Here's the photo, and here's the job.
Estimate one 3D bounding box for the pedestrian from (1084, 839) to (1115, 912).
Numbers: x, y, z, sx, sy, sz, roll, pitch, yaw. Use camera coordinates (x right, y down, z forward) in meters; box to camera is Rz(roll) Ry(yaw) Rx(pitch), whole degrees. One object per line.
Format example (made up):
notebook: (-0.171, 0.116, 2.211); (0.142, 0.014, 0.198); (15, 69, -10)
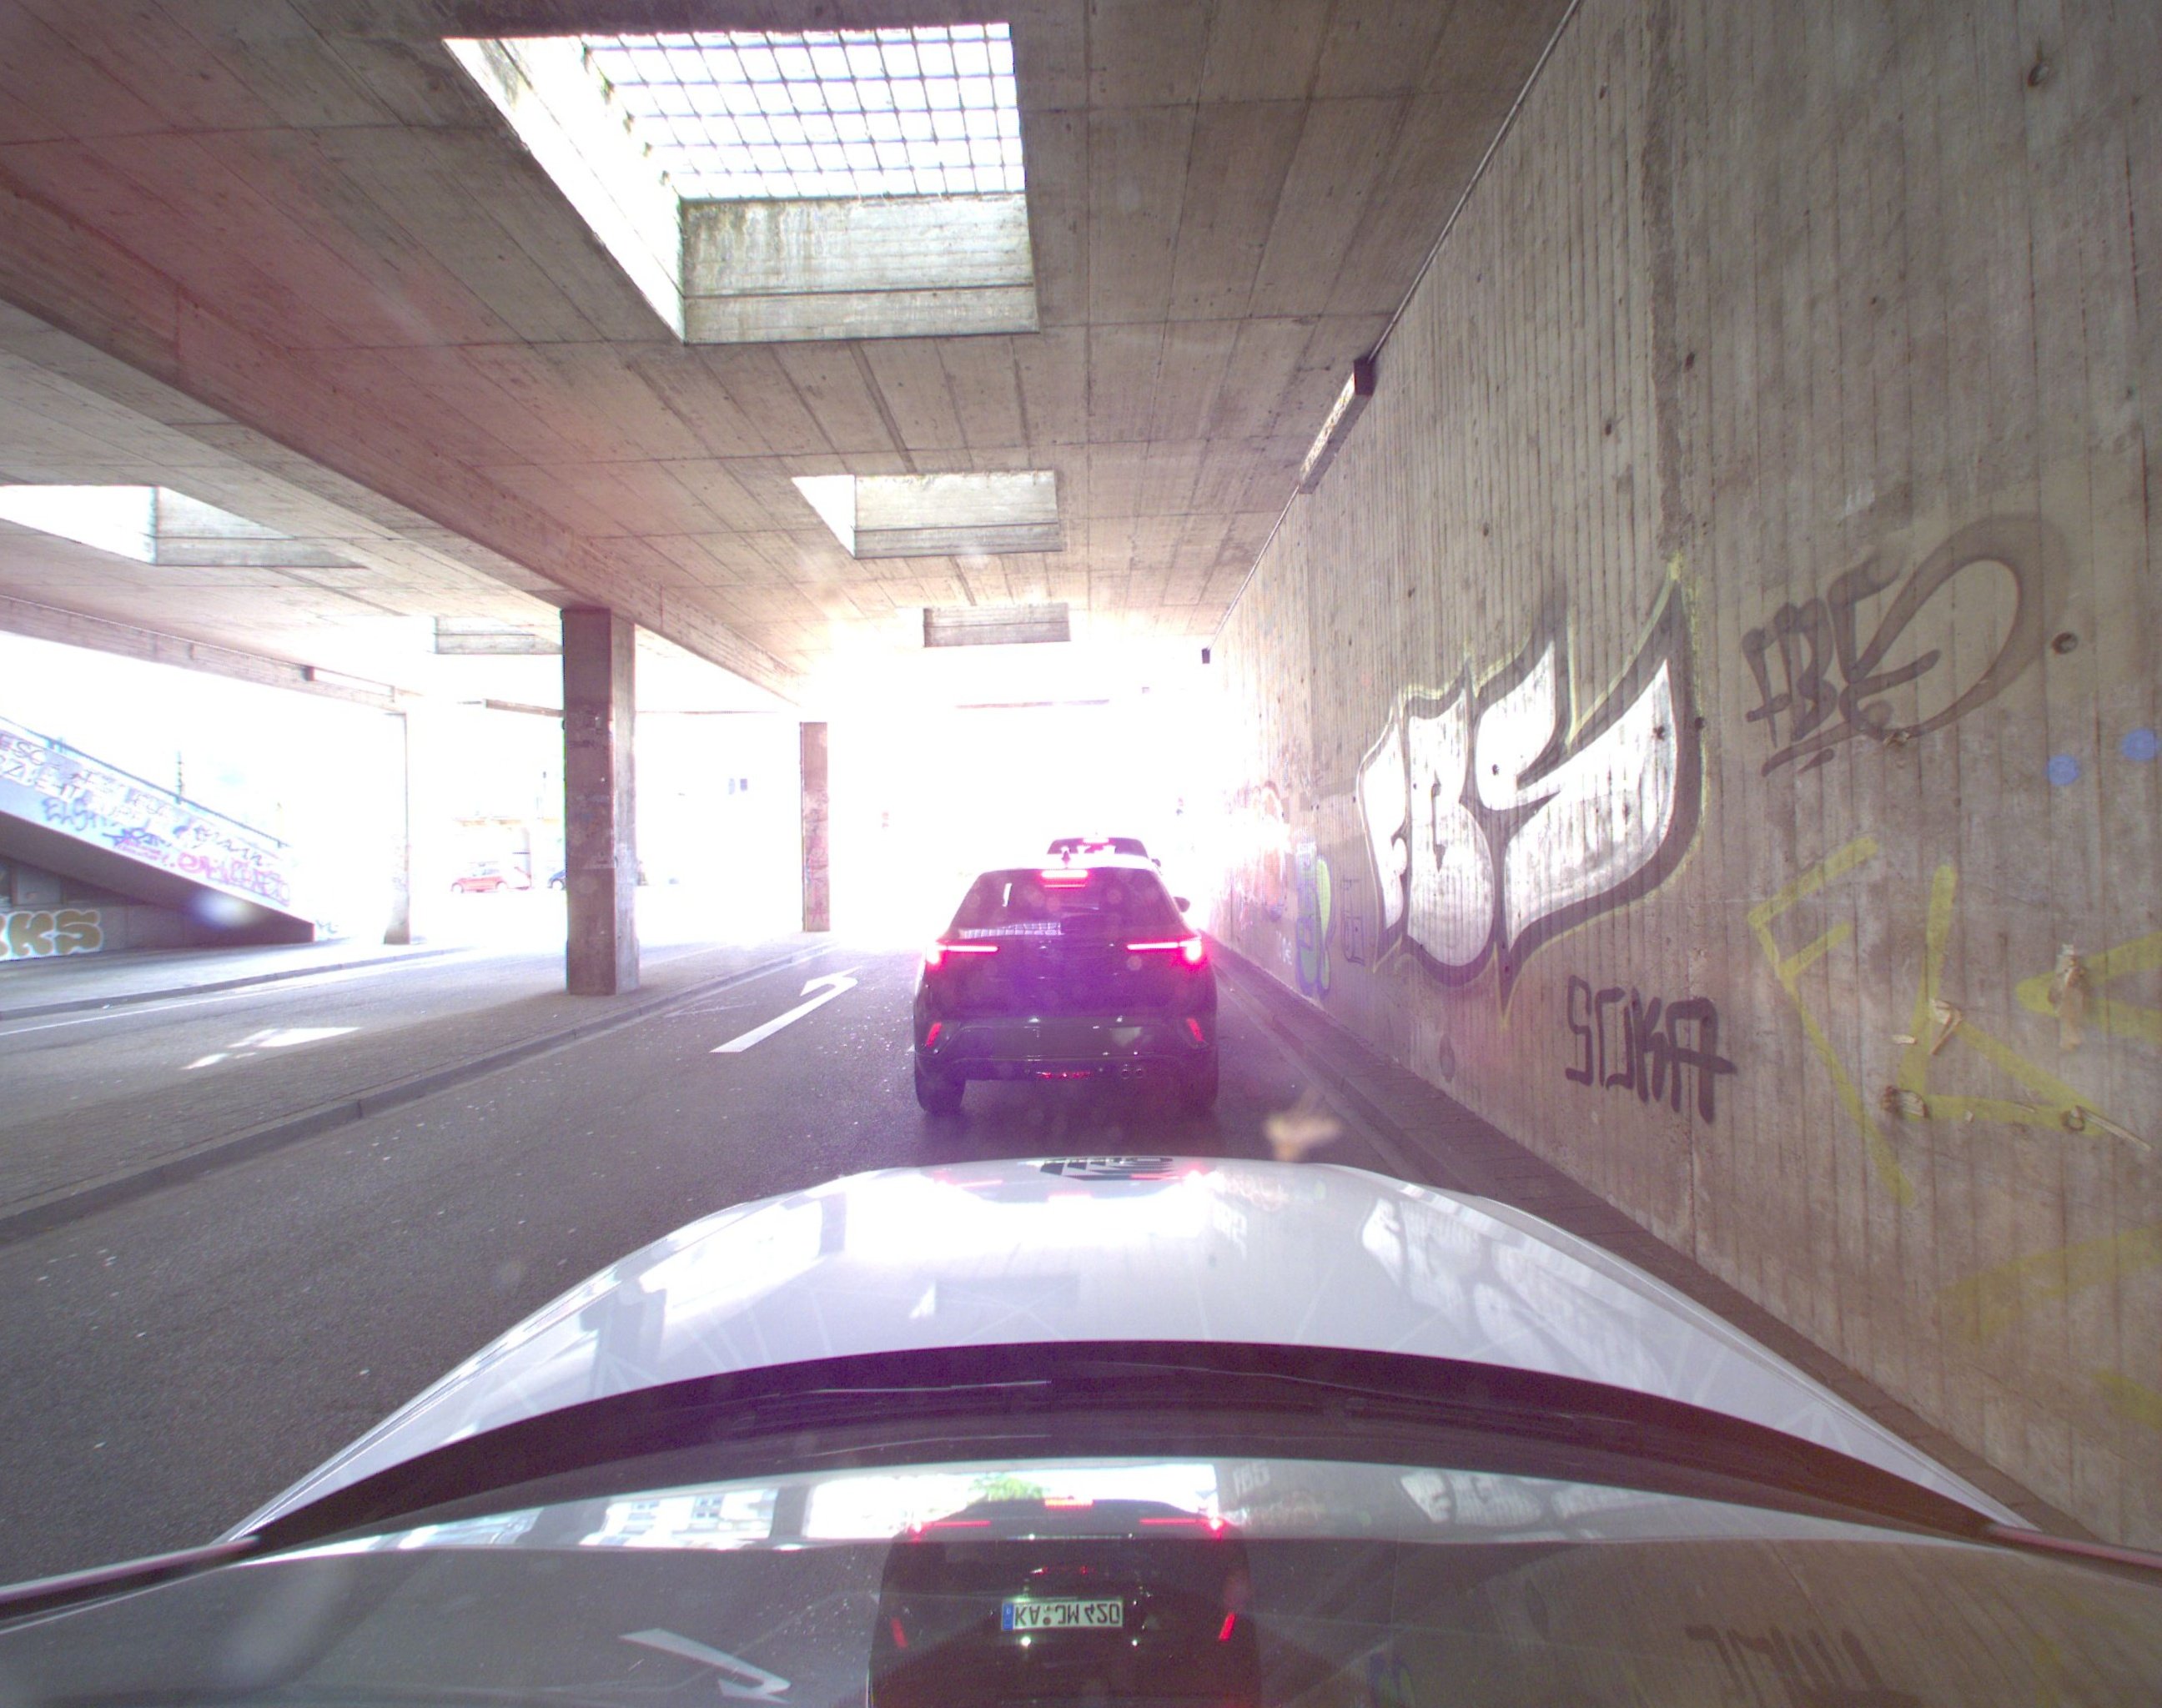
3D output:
pedestrian: (0.453, 0.521, 19.963); (0.728, 1.734, 0.874); (0, -1, 1)

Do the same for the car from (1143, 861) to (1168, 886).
car: (6.304, 1.619, 68.442); (1.983, 1.970, 4.172); (0, -1, 7)

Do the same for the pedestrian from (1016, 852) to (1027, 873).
pedestrian: (-5.912, 0.856, 81.114); (0.887, 2.088, 0.810); (0, -1, 9)

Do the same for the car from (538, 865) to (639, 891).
car: (-27.352, 1.320, 45.290); (4.393, 1.409, 1.925); (0, -1, -1)

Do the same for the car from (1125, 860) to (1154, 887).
car: (4.497, 1.447, 62.240); (1.983, 1.970, 4.172); (0, -1, 7)

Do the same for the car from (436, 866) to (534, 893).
car: (-33.057, 1.414, 45.248); (3.975, 1.409, 1.925); (0, -1, -1)

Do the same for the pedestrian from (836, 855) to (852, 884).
pedestrian: (-13.224, 0.854, 45.442); (0.669, 1.637, 0.741); (0, -1, 1)

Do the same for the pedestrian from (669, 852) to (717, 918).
pedestrian: (-10.618, 0.845, 22.317); (0.925, 1.762, 0.795); (0, -1, 3)

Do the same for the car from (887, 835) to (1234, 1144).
car: (-0.039, 0.656, 6.148); (1.758, 1.571, 4.002); (0, 1, 2)

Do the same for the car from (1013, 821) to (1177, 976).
car: (0.234, 0.546, 12.095); (1.986, 1.871, 4.002); (-2, 0, 2)
